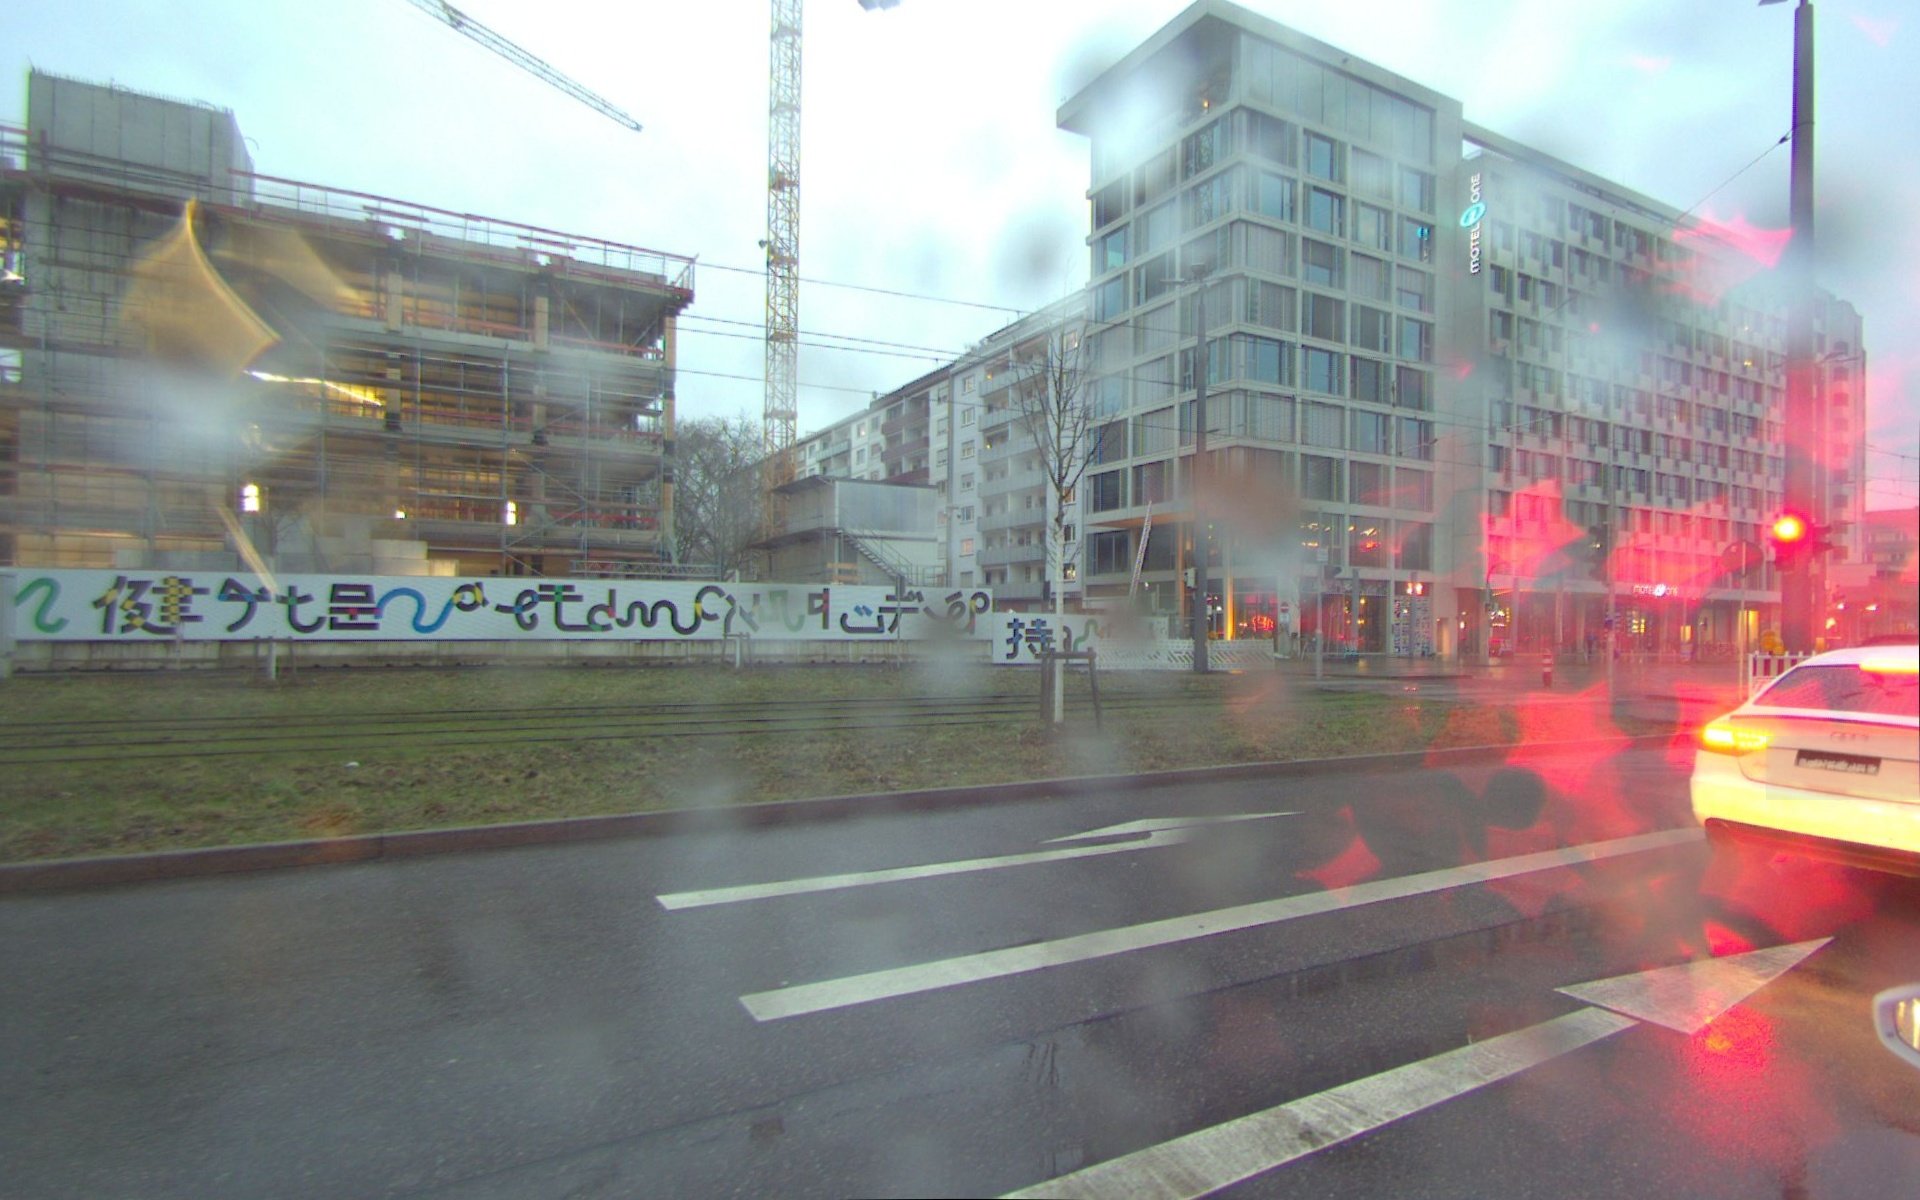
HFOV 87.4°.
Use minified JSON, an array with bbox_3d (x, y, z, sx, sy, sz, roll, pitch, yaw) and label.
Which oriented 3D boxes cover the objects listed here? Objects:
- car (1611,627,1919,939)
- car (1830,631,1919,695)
[{"bbox_3d":[6.269,0.945,6.362,4.320,1.475,1.983,1,-1,-32],"label":"car"},{"bbox_3d":[25.225,1.677,25.586,1.736,1.550,4.307,2,0,-20],"label":"car"}]
